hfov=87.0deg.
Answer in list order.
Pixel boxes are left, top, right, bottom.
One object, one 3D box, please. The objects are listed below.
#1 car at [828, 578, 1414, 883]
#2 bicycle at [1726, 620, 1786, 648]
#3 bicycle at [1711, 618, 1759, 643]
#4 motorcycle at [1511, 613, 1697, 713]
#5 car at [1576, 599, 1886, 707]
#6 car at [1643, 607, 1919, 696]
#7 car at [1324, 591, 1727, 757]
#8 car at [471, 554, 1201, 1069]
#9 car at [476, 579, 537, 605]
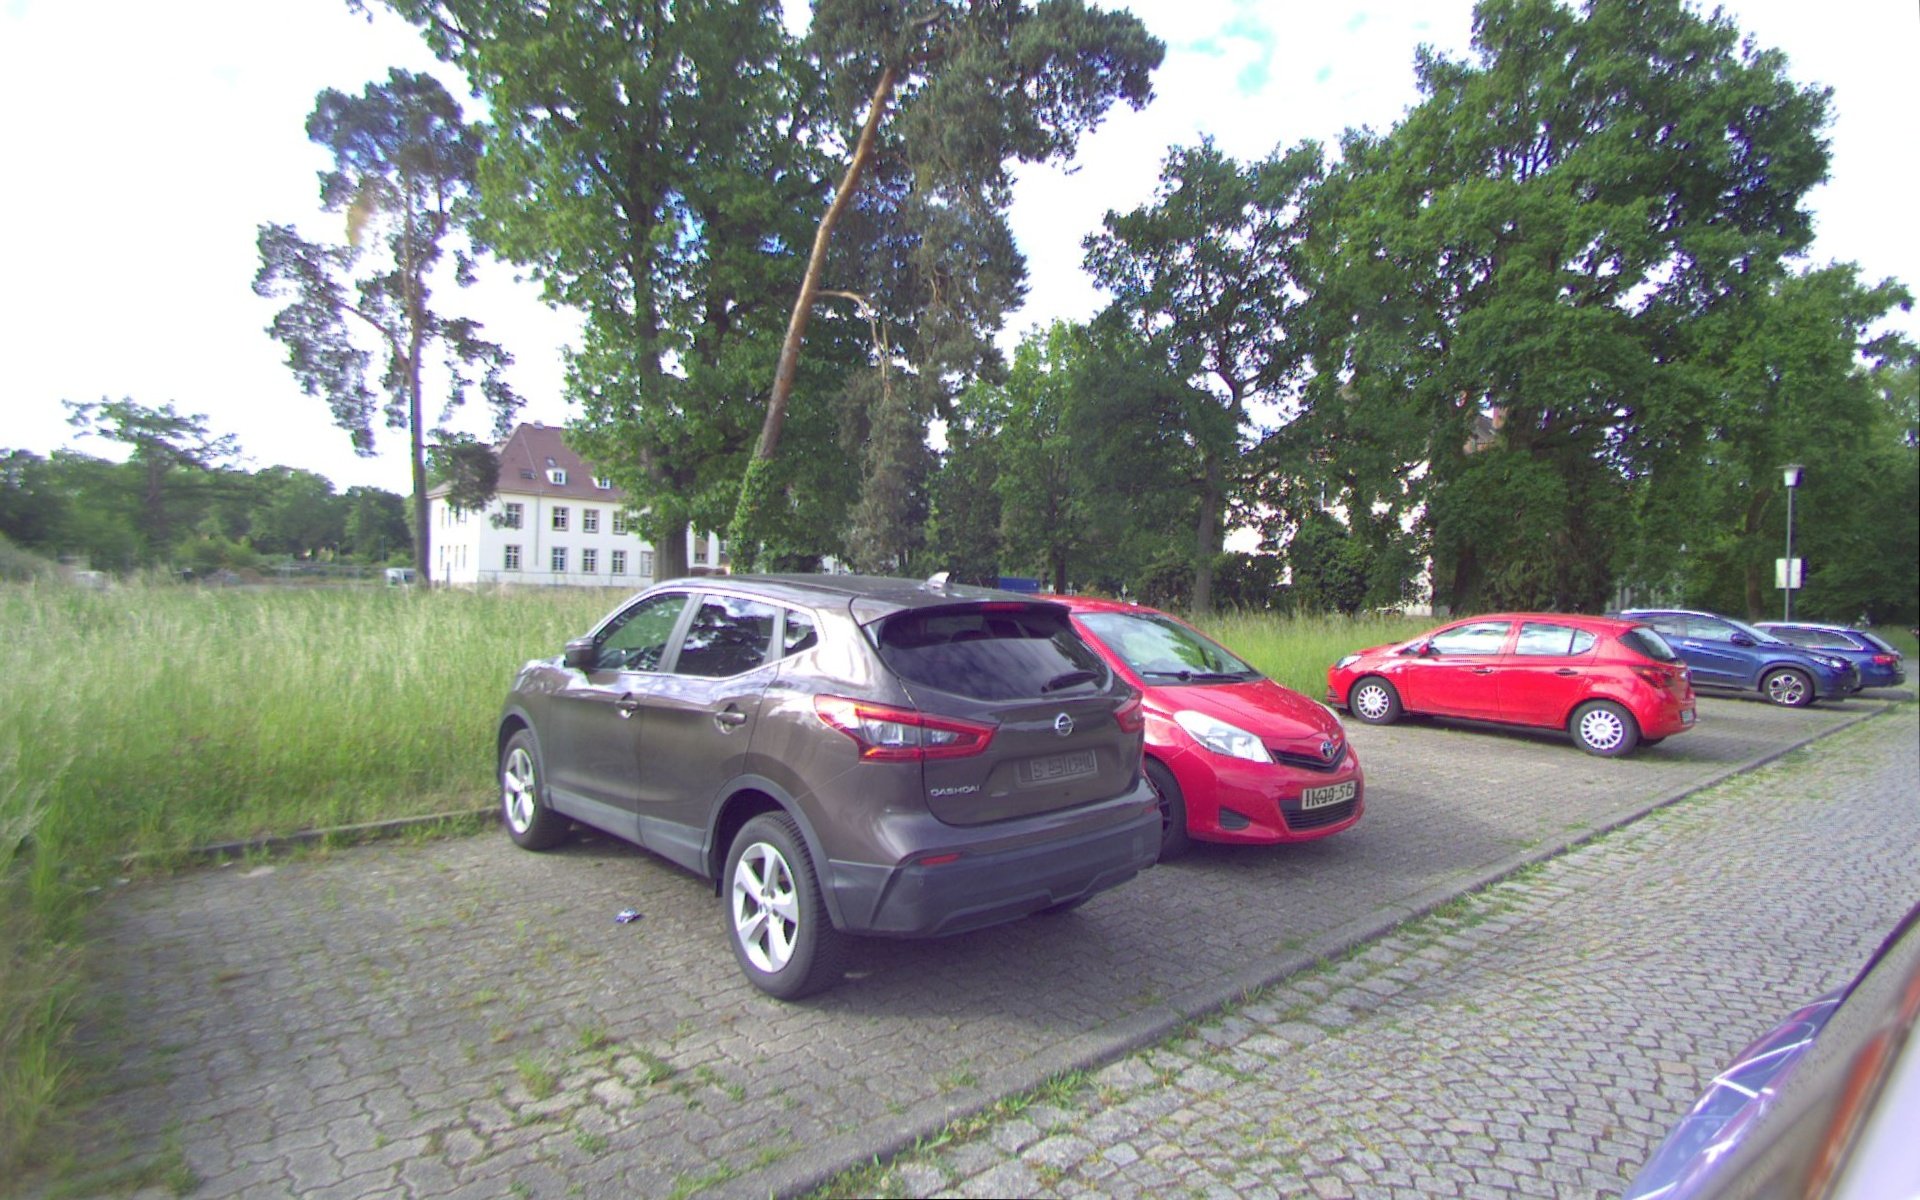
[{"bbox_3d":[0.893,0.656,7.306,1.708,1.537,3.994,1,0,-41],"label":"car"},{"bbox_3d":[35.034,1.489,44.577,1.999,1.101,0.474,2,3,27],"label":"bicycle"},{"bbox_3d":[38.343,1.496,50.086,1.734,1.101,0.548,2,3,27],"label":"bicycle"},{"bbox_3d":[9.611,0.897,15.188,2.265,1.291,0.596,3,1,44],"label":"motorcycle"},{"bbox_3d":[14.200,0.888,18.837,1.862,1.593,4.271,2,1,-41],"label":"car"},{"bbox_3d":[17.746,1.021,21.914,1.860,1.483,4.518,2,2,-38],"label":"car"},{"bbox_3d":[6.610,0.748,12.135,1.708,1.524,3.845,2,1,-42],"label":"car"},{"bbox_3d":[-0.946,0.630,5.205,1.732,1.600,3.955,1,0,-43],"label":"car"},{"bbox_3d":[-37.614,-0.649,83.828,5.811,2.039,2.450,0,0,41],"label":"car"}]
